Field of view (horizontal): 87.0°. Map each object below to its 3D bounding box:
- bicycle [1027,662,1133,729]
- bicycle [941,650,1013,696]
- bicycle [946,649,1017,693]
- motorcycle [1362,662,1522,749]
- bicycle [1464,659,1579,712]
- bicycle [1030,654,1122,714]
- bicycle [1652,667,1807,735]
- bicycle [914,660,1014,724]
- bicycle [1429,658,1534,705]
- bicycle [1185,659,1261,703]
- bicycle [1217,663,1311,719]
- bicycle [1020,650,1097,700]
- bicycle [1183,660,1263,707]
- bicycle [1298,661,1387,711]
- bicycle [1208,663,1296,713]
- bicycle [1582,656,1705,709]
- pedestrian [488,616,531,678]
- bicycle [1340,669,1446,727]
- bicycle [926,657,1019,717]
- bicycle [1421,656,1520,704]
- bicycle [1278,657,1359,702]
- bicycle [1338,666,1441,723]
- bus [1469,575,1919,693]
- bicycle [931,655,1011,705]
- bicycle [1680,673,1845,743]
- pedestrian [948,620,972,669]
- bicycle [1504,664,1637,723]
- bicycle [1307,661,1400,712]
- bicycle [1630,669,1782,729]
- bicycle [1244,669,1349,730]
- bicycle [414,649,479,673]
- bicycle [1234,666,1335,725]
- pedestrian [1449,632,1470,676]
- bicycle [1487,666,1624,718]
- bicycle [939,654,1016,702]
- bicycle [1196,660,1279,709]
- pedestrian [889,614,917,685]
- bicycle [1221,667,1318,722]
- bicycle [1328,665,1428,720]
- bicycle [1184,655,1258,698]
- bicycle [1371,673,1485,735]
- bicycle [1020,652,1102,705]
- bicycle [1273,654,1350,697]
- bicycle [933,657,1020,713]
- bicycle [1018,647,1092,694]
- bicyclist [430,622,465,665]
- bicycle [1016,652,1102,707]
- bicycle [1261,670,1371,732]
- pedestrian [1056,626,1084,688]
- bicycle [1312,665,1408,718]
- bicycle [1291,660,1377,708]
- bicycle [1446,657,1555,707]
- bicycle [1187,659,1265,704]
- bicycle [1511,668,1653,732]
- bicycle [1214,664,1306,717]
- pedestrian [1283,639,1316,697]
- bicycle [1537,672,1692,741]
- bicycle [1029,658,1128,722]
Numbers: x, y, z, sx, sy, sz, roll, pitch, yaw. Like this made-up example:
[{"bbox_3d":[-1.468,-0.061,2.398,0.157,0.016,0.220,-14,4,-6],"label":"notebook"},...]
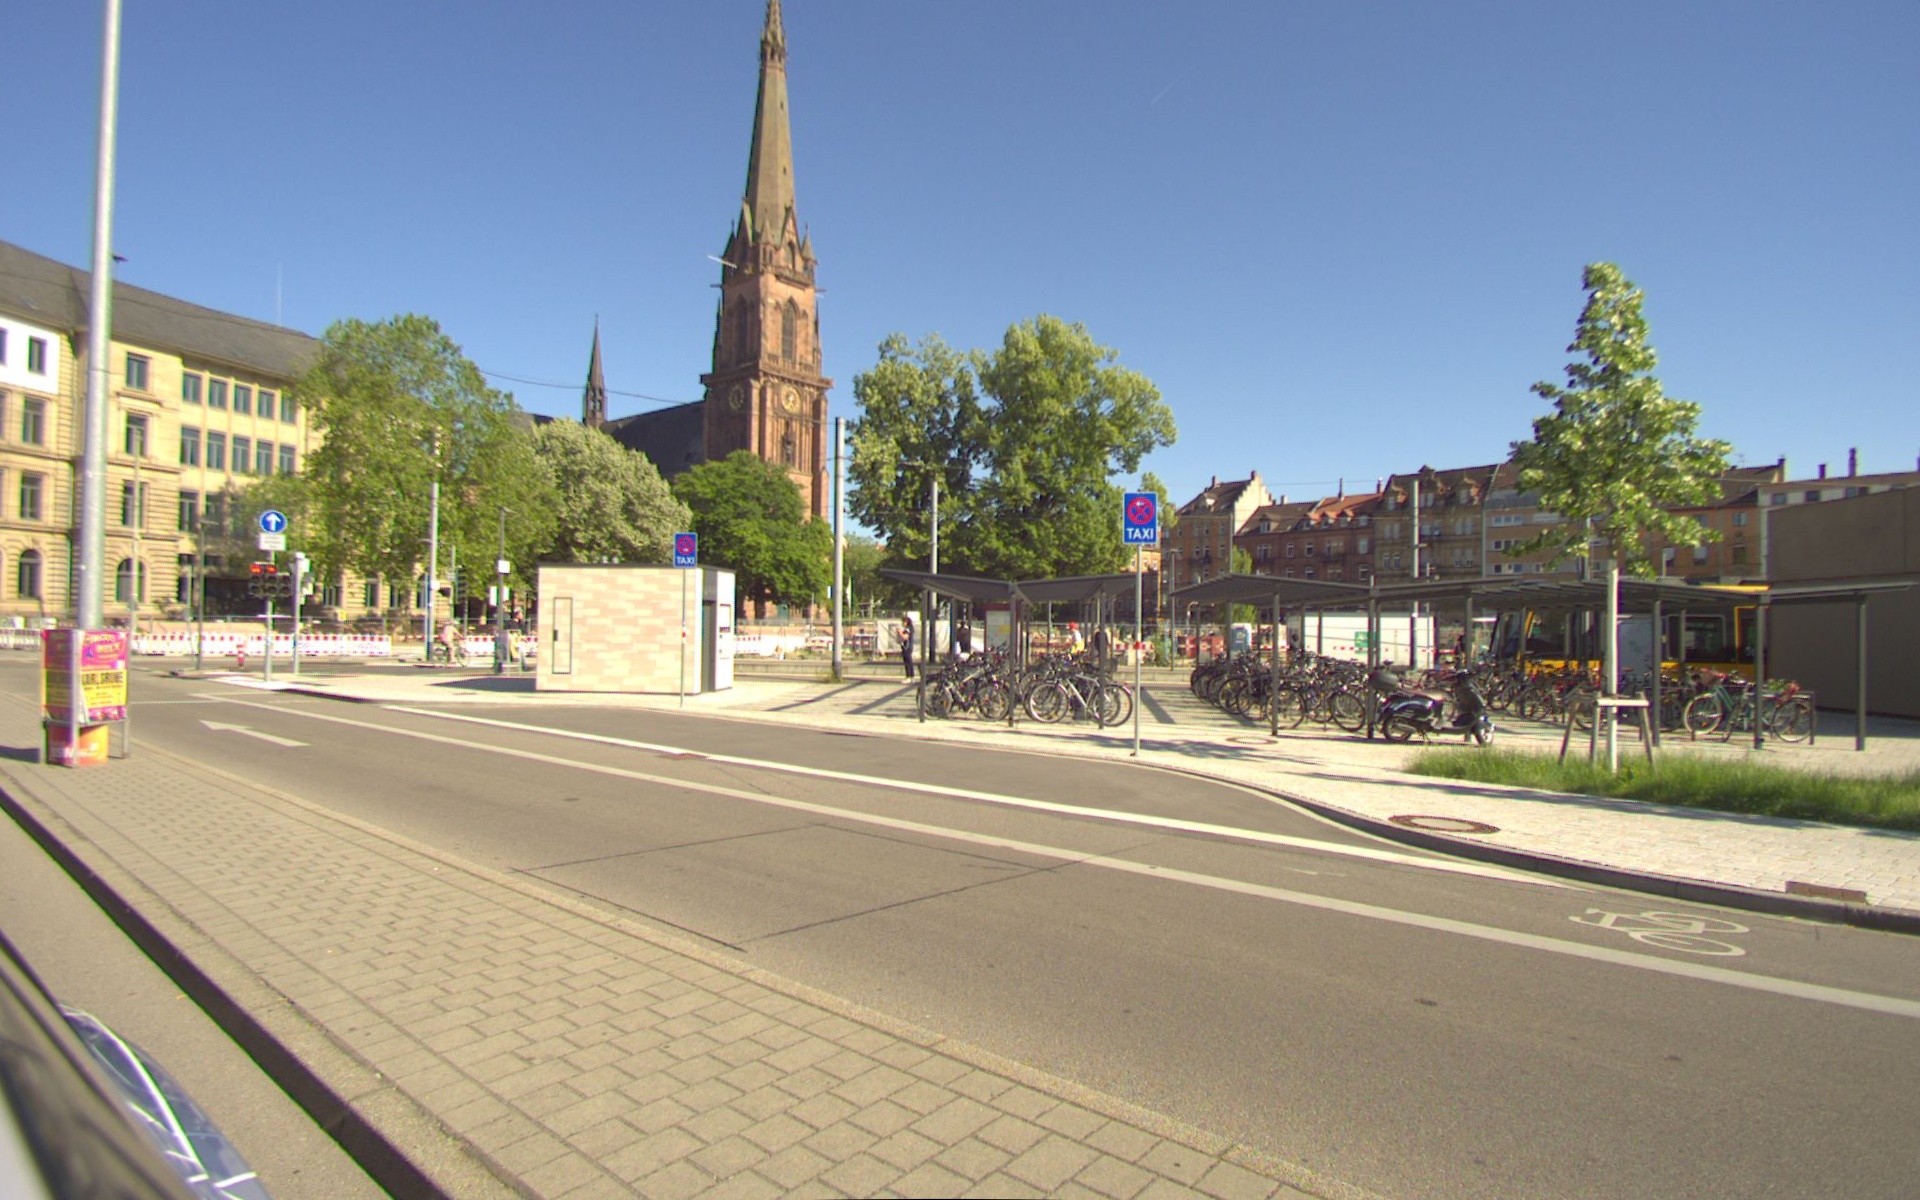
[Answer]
[{"bbox_3d":[2.023,1.605,17.097,1.753,1.083,0.406,1,-3,6],"label":"bicycle"},{"bbox_3d":[0.394,1.701,23.667,1.663,1.006,0.406,0,0,8],"label":"bicycle"},{"bbox_3d":[0.518,1.701,24.192,1.663,1.006,0.406,0,0,8],"label":"bicycle"},{"bbox_3d":[7.194,1.570,15.164,2.059,1.228,0.569,-1,-2,3],"label":"motorcycle"},{"bbox_3d":[11.777,1.794,21.269,2.048,1.045,0.533,-1,2,8],"label":"bicycle"},{"bbox_3d":[2.236,1.620,19.587,1.755,1.083,0.406,1,0,6],"label":"bicycle"},{"bbox_3d":[12.989,1.696,17.120,2.030,1.087,0.604,-1,0,7],"label":"bicycle"},{"bbox_3d":[0.068,1.573,17.387,1.663,1.006,0.406,2,0,8],"label":"bicycle"},{"bbox_3d":[12.032,1.879,23.378,2.048,1.045,0.533,-1,-4,8],"label":"bicycle"},{"bbox_3d":[6.138,1.880,23.629,1.661,0.980,0.406,1,-5,3],"label":"bicycle"},{"bbox_3d":[5.815,1.737,19.380,1.661,0.980,0.406,1,0,3],"label":"bicycle"},{"bbox_3d":[2.273,1.730,23.503,1.755,1.083,0.406,1,0,6],"label":"bicycle"},{"bbox_3d":[5.787,1.837,22.301,1.661,0.980,0.406,1,-5,3],"label":"bicycle"},{"bbox_3d":[7.862,1.760,20.830,1.661,0.980,0.406,-1,0,3],"label":"bicycle"},{"bbox_3d":[5.925,1.784,20.569,1.661,0.980,0.406,1,-5,3],"label":"bicycle"},{"bbox_3d":[14.079,1.696,20.882,2.048,1.045,0.533,-1,0,8],"label":"bicycle"},{"bbox_3d":[-13.089,1.354,29.403,0.987,1.756,0.631,2,-2,-42],"label":"pedestrian"},{"bbox_3d":[7.644,1.724,17.897,1.661,0.980,0.406,-1,0,3],"label":"bicycle"},{"bbox_3d":[0.232,1.596,18.606,1.663,1.006,0.406,2,0,8],"label":"bicycle"},{"bbox_3d":[12.301,1.918,24.434,2.048,1.045,0.533,1,3,8],"label":"bicycle"},{"bbox_3d":[8.074,1.787,22.843,1.661,0.980,0.406,-1,0,3],"label":"bicycle"},{"bbox_3d":[7.824,1.722,18.464,1.661,0.980,0.406,-1,0,3],"label":"bicycle"},{"bbox_3d":[22.056,0.933,28.639,13.462,3.095,2.859,0,-2,6],"label":"bus"},{"bbox_3d":[0.230,1.675,21.409,1.663,1.006,0.406,0,0,8],"label":"bicycle"},{"bbox_3d":[12.768,1.714,16.142,2.048,1.045,0.533,-1,0,8],"label":"bicycle"},{"bbox_3d":[-0.010,1.705,39.089,0.610,1.874,0.703,2,-2,-39],"label":"pedestrian"},{"bbox_3d":[11.322,1.732,18.817,2.048,1.045,0.533,-1,0,8],"label":"bicycle"},{"bbox_3d":[7.858,1.729,20.233,1.661,0.980,0.406,-1,0,3],"label":"bicycle"},{"bbox_3d":[13.480,1.780,18.334,2.117,1.005,0.690,-1,0,7],"label":"bicycle"},{"bbox_3d":[5.794,1.709,17.468,1.661,0.980,0.406,1,0,3],"label":"bicycle"},{"bbox_3d":[-18.896,2.232,37.259,0.739,0.788,2.029,-1,-2,34],"label":"bicycle"},{"bbox_3d":[5.816,1.709,18.193,1.661,0.980,0.406,1,0,3],"label":"bicycle"},{"bbox_3d":[21.951,2.364,44.470,0.637,1.885,0.529,0,-2,5],"label":"pedestrian"},{"bbox_3d":[11.615,1.797,19.795,2.208,0.951,0.685,-1,0,7],"label":"bicycle"},{"bbox_3d":[0.385,1.704,22.289,1.663,1.006,0.406,0,0,8],"label":"bicycle"},{"bbox_3d":[5.926,1.805,21.644,1.661,0.980,0.406,1,-5,3],"label":"bicycle"},{"bbox_3d":[-1.510,1.310,26.999,0.693,1.874,0.620,0,-2,2],"label":"pedestrian"},{"bbox_3d":[5.729,1.749,18.773,1.661,0.980,0.406,-1,0,3],"label":"bicycle"},{"bbox_3d":[7.843,1.730,19.017,1.661,0.980,0.406,-1,0,3],"label":"bicycle"},{"bbox_3d":[6.257,1.836,24.316,1.661,0.980,0.406,1,-5,3],"label":"bicycle"},{"bbox_3d":[7.768,1.723,16.826,1.661,0.980,0.406,-1,0,3],"label":"bicycle"},{"bbox_3d":[2.194,1.693,22.033,1.755,1.083,0.406,1,0,6],"label":"bicycle"},{"bbox_3d":[8.292,1.784,23.919,1.661,0.980,0.406,-1,0,3],"label":"bicycle"},{"bbox_3d":[0.329,1.663,19.950,1.663,1.006,0.406,2,0,8],"label":"bicycle"},{"bbox_3d":[2.315,1.723,24.682,1.755,1.083,0.406,1,0,6],"label":"bicycle"},{"bbox_3d":[-18.887,1.592,37.271,0.739,1.583,0.876,-1,-2,33],"label":"bicyclist"},{"bbox_3d":[2.053,1.642,20.978,1.755,1.083,0.406,1,0,6],"label":"bicycle"},{"bbox_3d":[5.934,1.684,16.894,1.661,0.980,0.406,-1,0,3],"label":"bicycle"},{"bbox_3d":[2.963,1.529,27.254,0.693,1.635,0.620,0,-2,2],"label":"pedestrian"},{"bbox_3d":[7.717,1.762,19.534,1.661,0.980,0.406,-1,0,3],"label":"bicycle"},{"bbox_3d":[7.989,1.789,21.628,1.661,0.980,0.406,-1,0,3],"label":"bicycle"},{"bbox_3d":[11.866,1.801,22.260,2.048,1.045,0.533,-1,2,8],"label":"bicycle"},{"bbox_3d":[6.054,1.859,23.056,1.661,0.980,0.406,1,-5,3],"label":"bicycle"},{"bbox_3d":[10.825,1.739,17.665,2.048,1.045,0.533,-1,0,8],"label":"bicycle"},{"bbox_3d":[5.902,1.780,19.963,1.661,0.980,0.406,1,0,3],"label":"bicycle"},{"bbox_3d":[11.484,2.287,34.256,0.757,1.931,0.805,1,-2,-11],"label":"pedestrian"},{"bbox_3d":[10.573,1.710,16.394,2.048,1.045,0.533,-1,0,8],"label":"bicycle"},{"bbox_3d":[2.140,1.616,18.342,1.753,1.083,0.406,1,0,6],"label":"bicycle"}]
